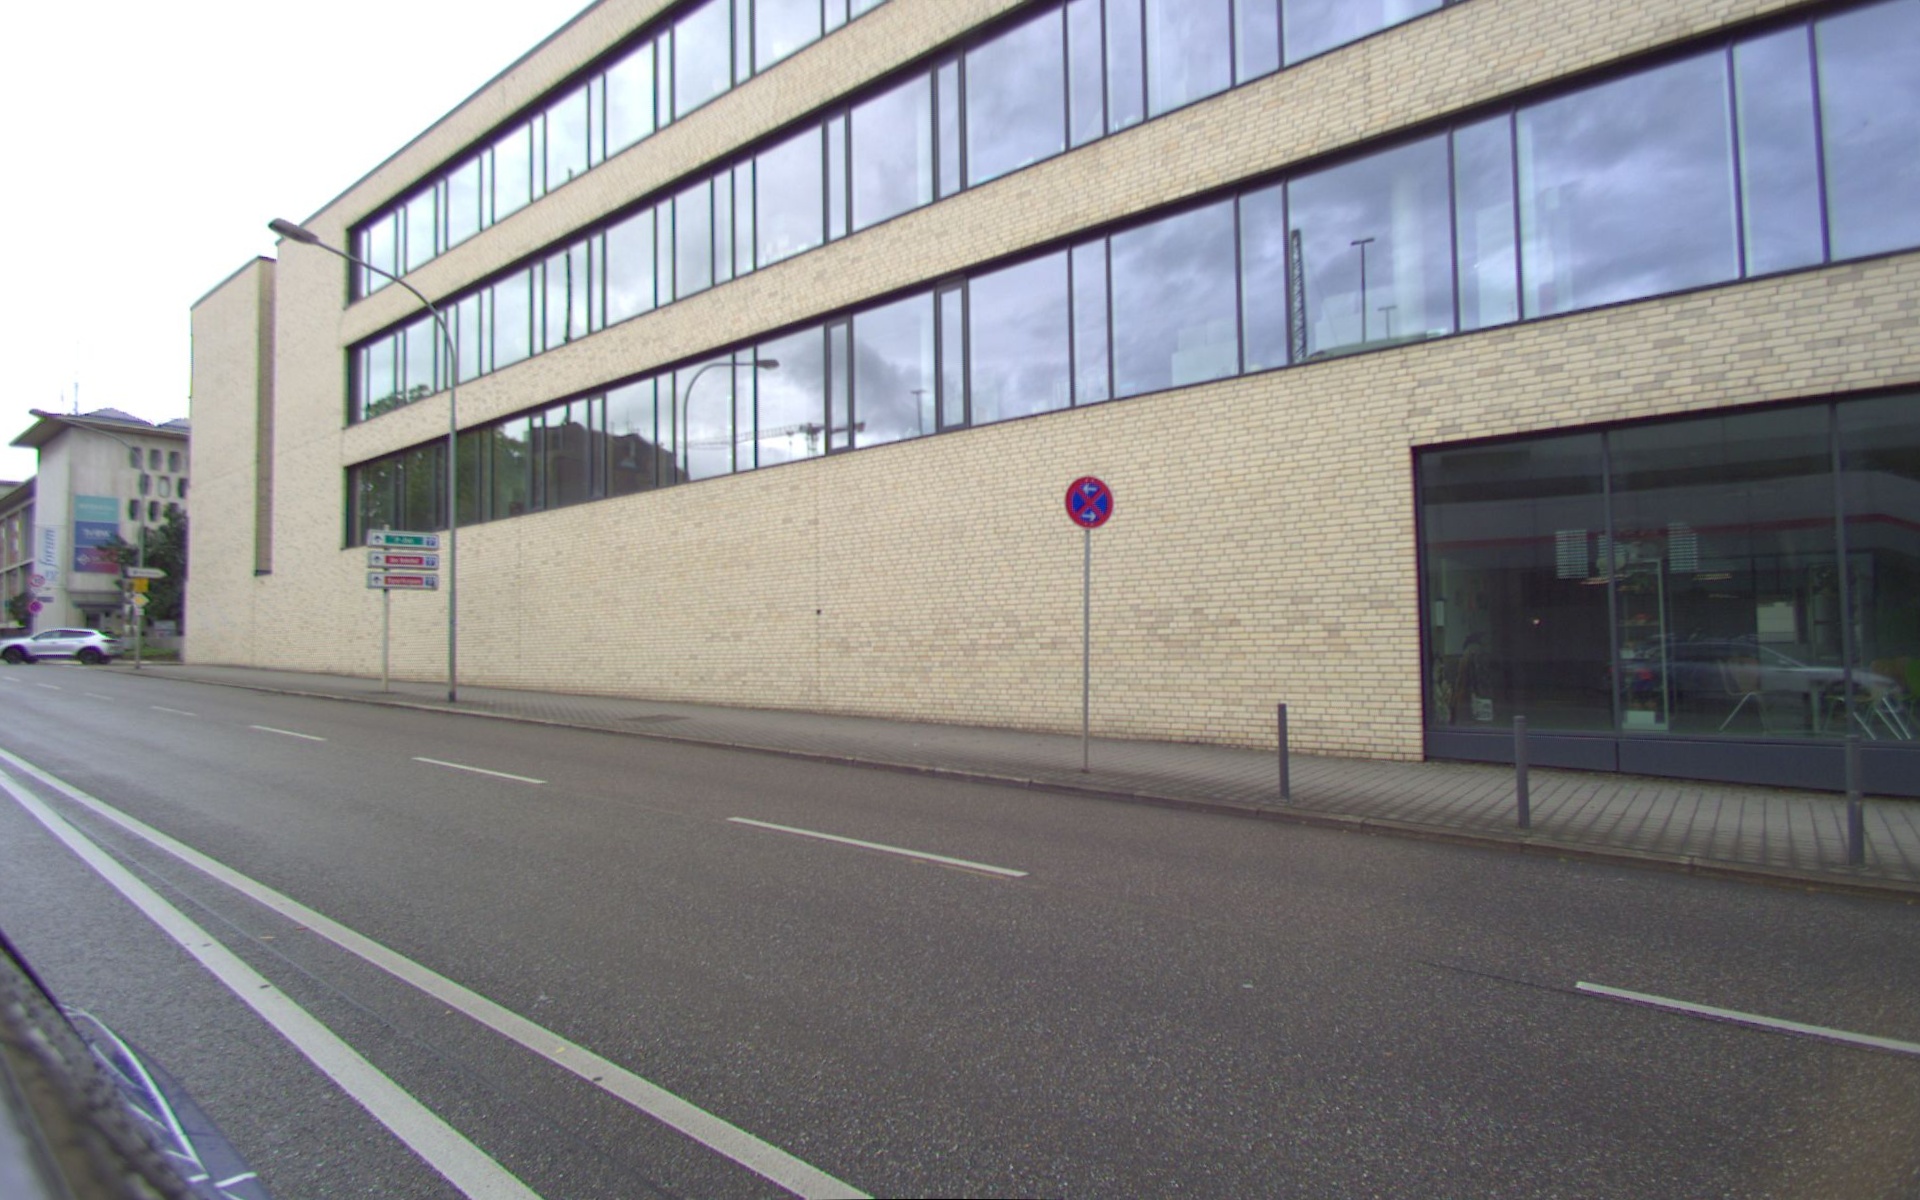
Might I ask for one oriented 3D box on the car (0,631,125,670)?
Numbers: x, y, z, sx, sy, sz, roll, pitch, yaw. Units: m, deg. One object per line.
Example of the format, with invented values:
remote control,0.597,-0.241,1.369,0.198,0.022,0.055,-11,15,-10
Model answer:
car,-40.076,2.236,45.179,3.985,1.537,1.808,-1,-1,-25
